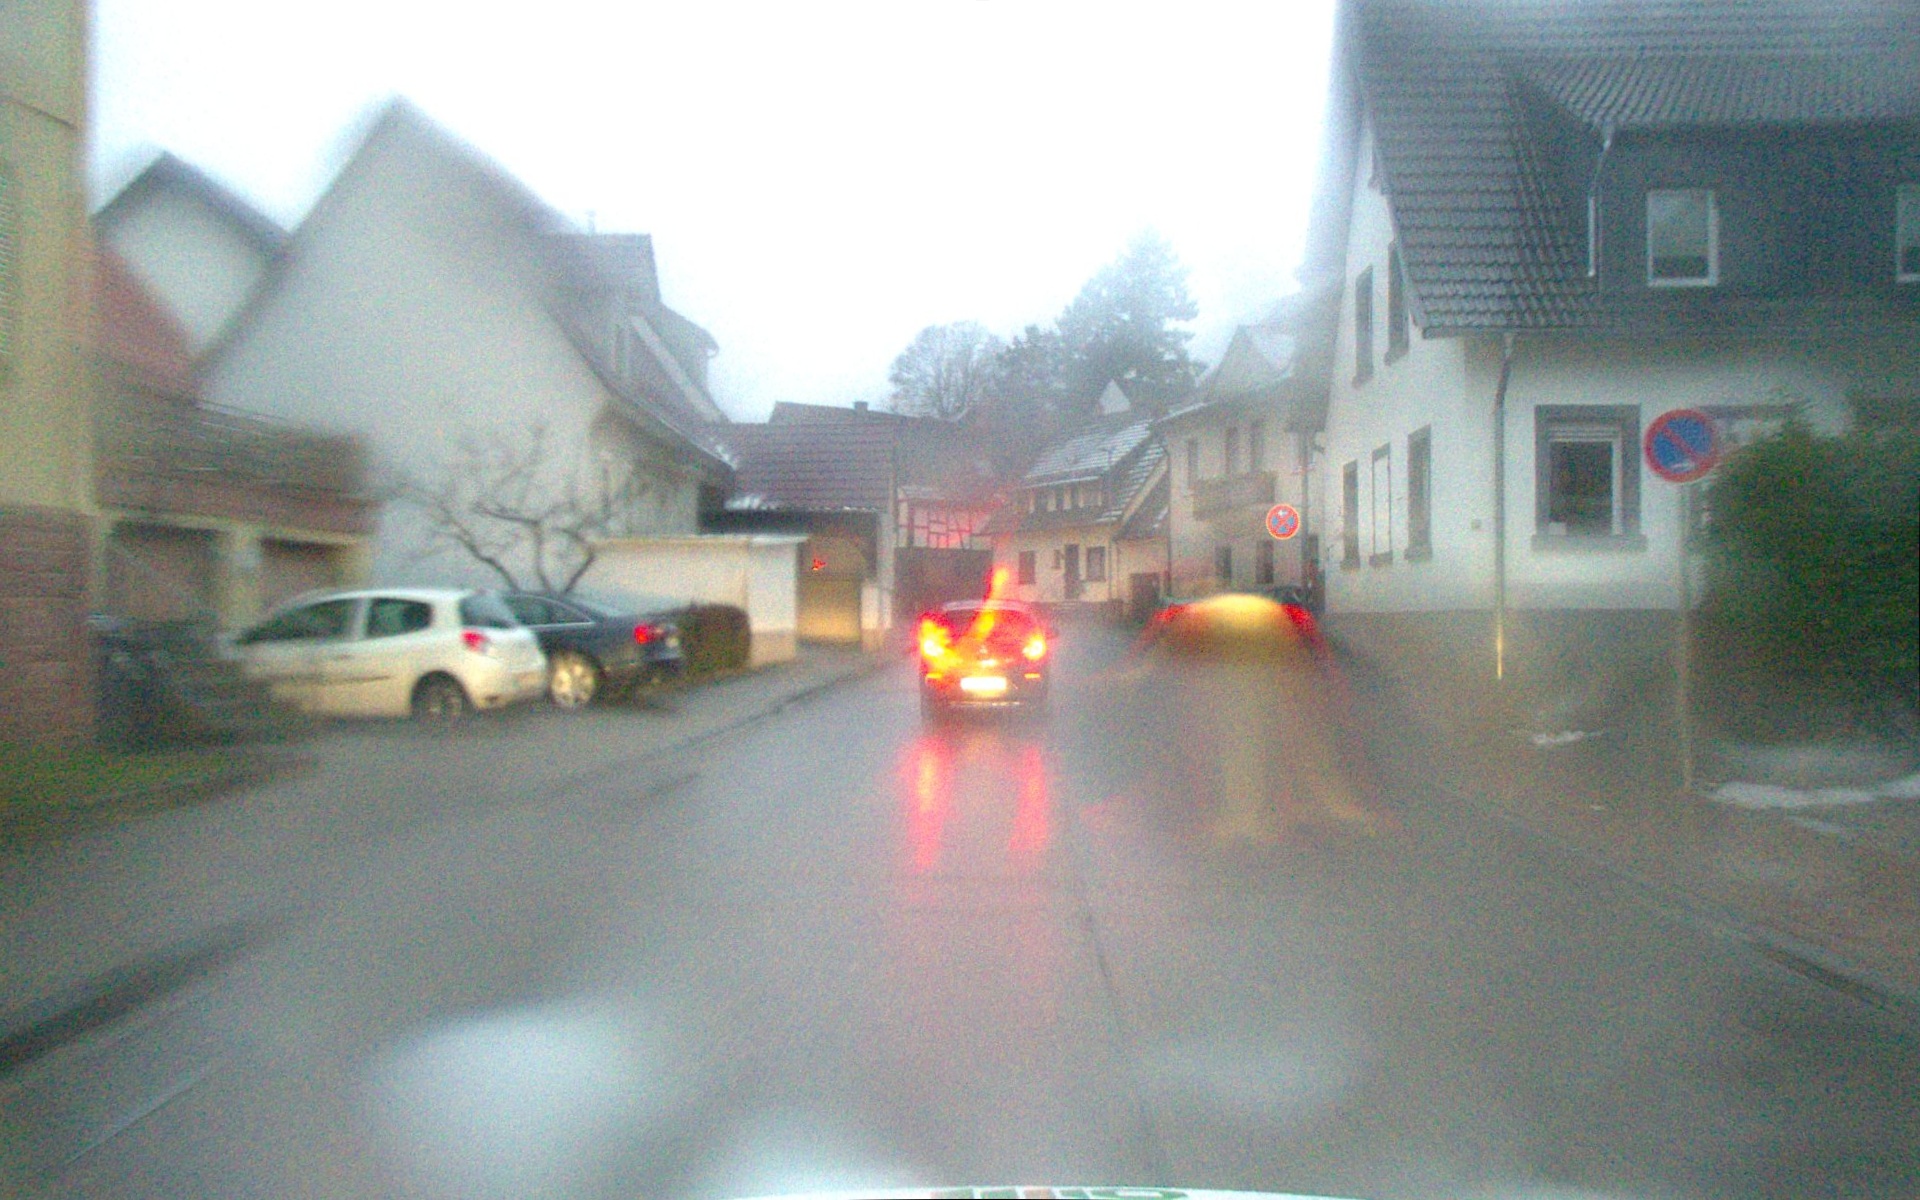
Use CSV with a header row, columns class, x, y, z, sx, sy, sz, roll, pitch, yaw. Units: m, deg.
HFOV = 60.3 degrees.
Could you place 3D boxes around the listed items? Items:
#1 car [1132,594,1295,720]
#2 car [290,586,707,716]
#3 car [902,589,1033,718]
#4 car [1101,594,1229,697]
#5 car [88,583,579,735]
class,x,y,z,sx,sy,sz,roll,pitch,yaw
car,3.316,0.694,22.300,1.604,1.497,4.000,2,0,1
car,-5.554,0.600,20.267,4.497,1.496,2.001,0,0,4
car,0.168,0.619,21.371,1.514,1.491,3.700,1,0,2
car,3.262,0.682,26.973,1.604,1.520,4.000,2,0,1
car,-6.547,0.595,17.530,4.505,1.496,1.893,0,0,8
